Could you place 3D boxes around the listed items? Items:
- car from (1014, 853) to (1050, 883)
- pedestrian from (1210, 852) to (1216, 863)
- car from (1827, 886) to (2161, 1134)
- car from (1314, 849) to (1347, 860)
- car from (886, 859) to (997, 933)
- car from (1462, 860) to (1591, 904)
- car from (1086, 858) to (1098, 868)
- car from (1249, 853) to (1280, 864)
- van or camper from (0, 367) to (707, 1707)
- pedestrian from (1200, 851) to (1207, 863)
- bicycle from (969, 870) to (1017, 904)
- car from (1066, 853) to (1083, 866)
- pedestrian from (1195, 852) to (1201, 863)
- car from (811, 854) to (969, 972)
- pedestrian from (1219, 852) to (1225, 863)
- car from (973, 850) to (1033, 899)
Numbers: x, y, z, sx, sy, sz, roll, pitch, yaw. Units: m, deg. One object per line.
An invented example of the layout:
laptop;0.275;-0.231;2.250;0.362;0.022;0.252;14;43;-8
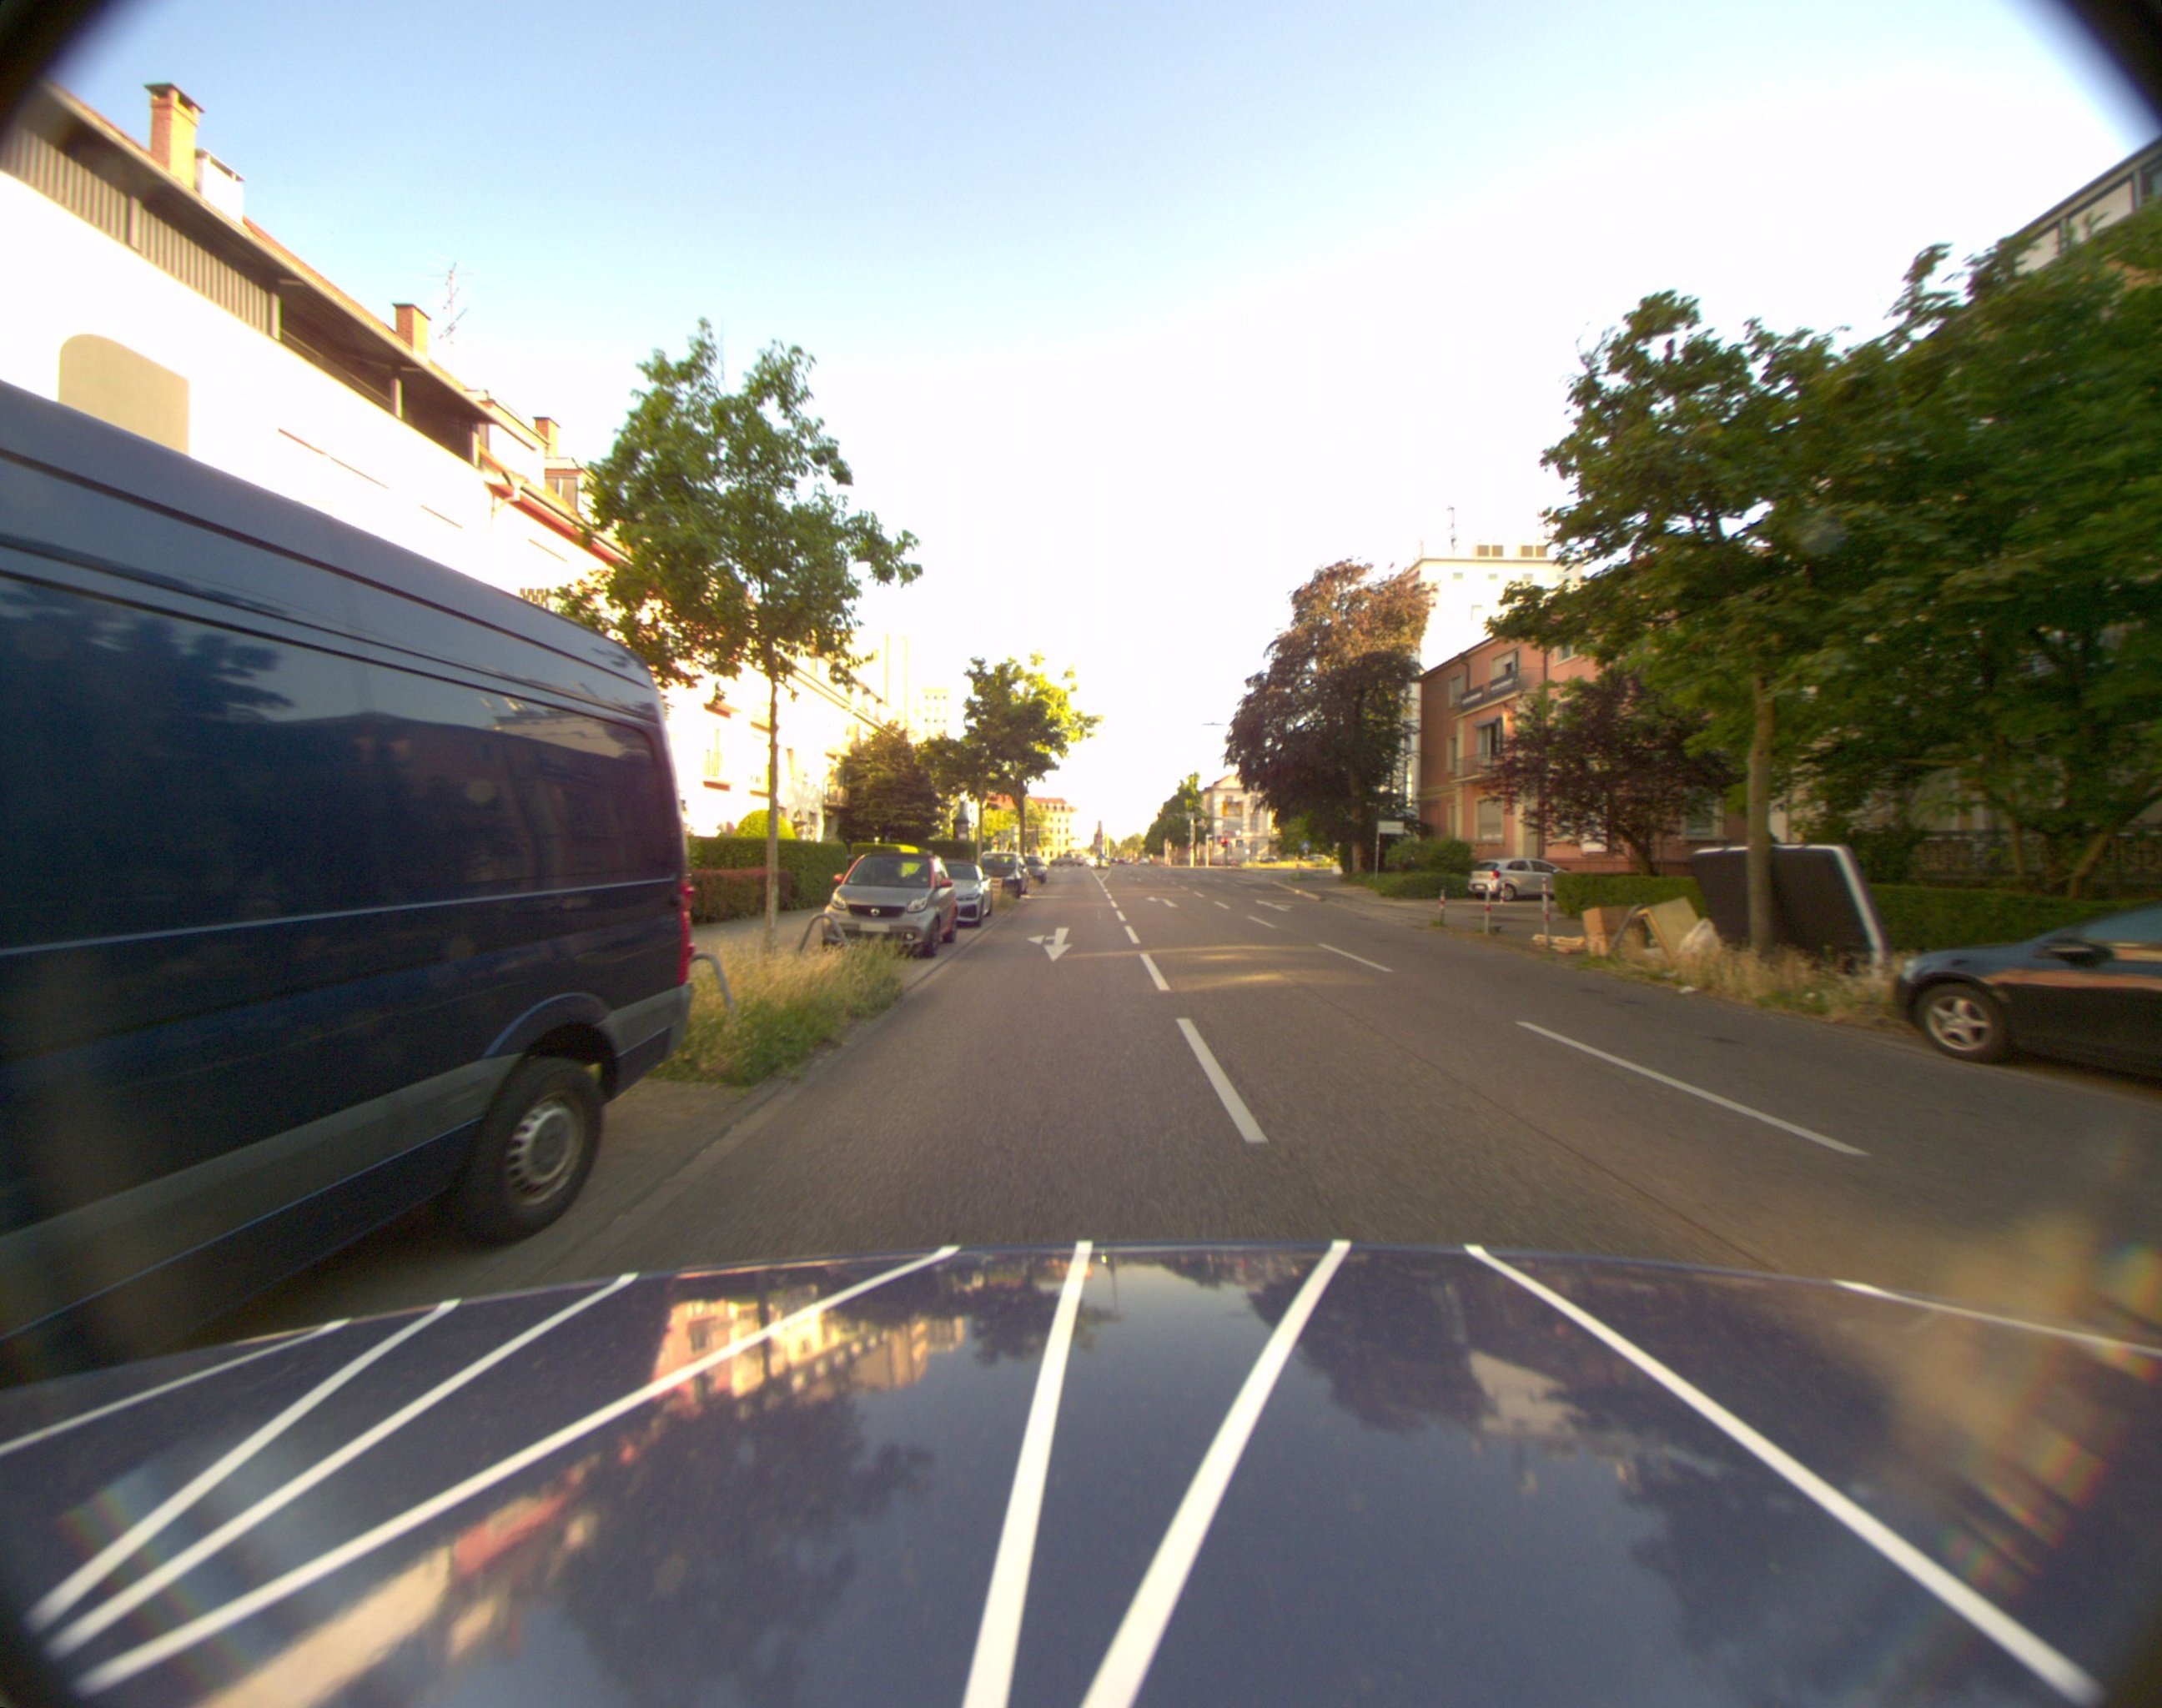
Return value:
car;-2.660;0.739;41.770;1.737;1.542;3.646;0;0;0
pedestrian;20.200;0.585;116.102;0.621;1.641;0.889;0;0;-9
car;7.742;1.035;4.901;1.754;1.494;4.197;0;0;0
car;33.163;0.104;101.077;3.645;1.437;1.999;0;0;-4
car;-3.061;0.853;17.603;1.925;1.477;4.744;0;0;-3
car;15.594;0.962;26.719;3.507;1.477;1.815;0;0;-3
car;1.542;1.296;109.565;1.764;1.489;3.708;0;0;0
car;24.131;0.605;100.009;3.645;1.437;1.999;0;0;-4
van or camper;-3.152;0.379;1.235;2.073;2.660;5.989;0;1;0
pedestrian;19.598;0.477;121.405;0.821;1.838;1.169;0;0;-9
bicycle;-2.774;1.048;24.040;1.482;1.053;0.411;0;0;-12
car;-0.729;0.655;89.960;1.832;1.505;4.605;0;0;3
pedestrian;18.610;0.554;121.069;0.678;1.698;1.084;0;0;-9
car;-3.003;0.846;12.738;1.777;1.633;3.756;0;1;-1
pedestrian;21.503;0.585;116.107;0.678;1.641;0.882;0;0;-9
car;-2.791;0.703;27.934;1.737;1.641;4.291;0;0;0
